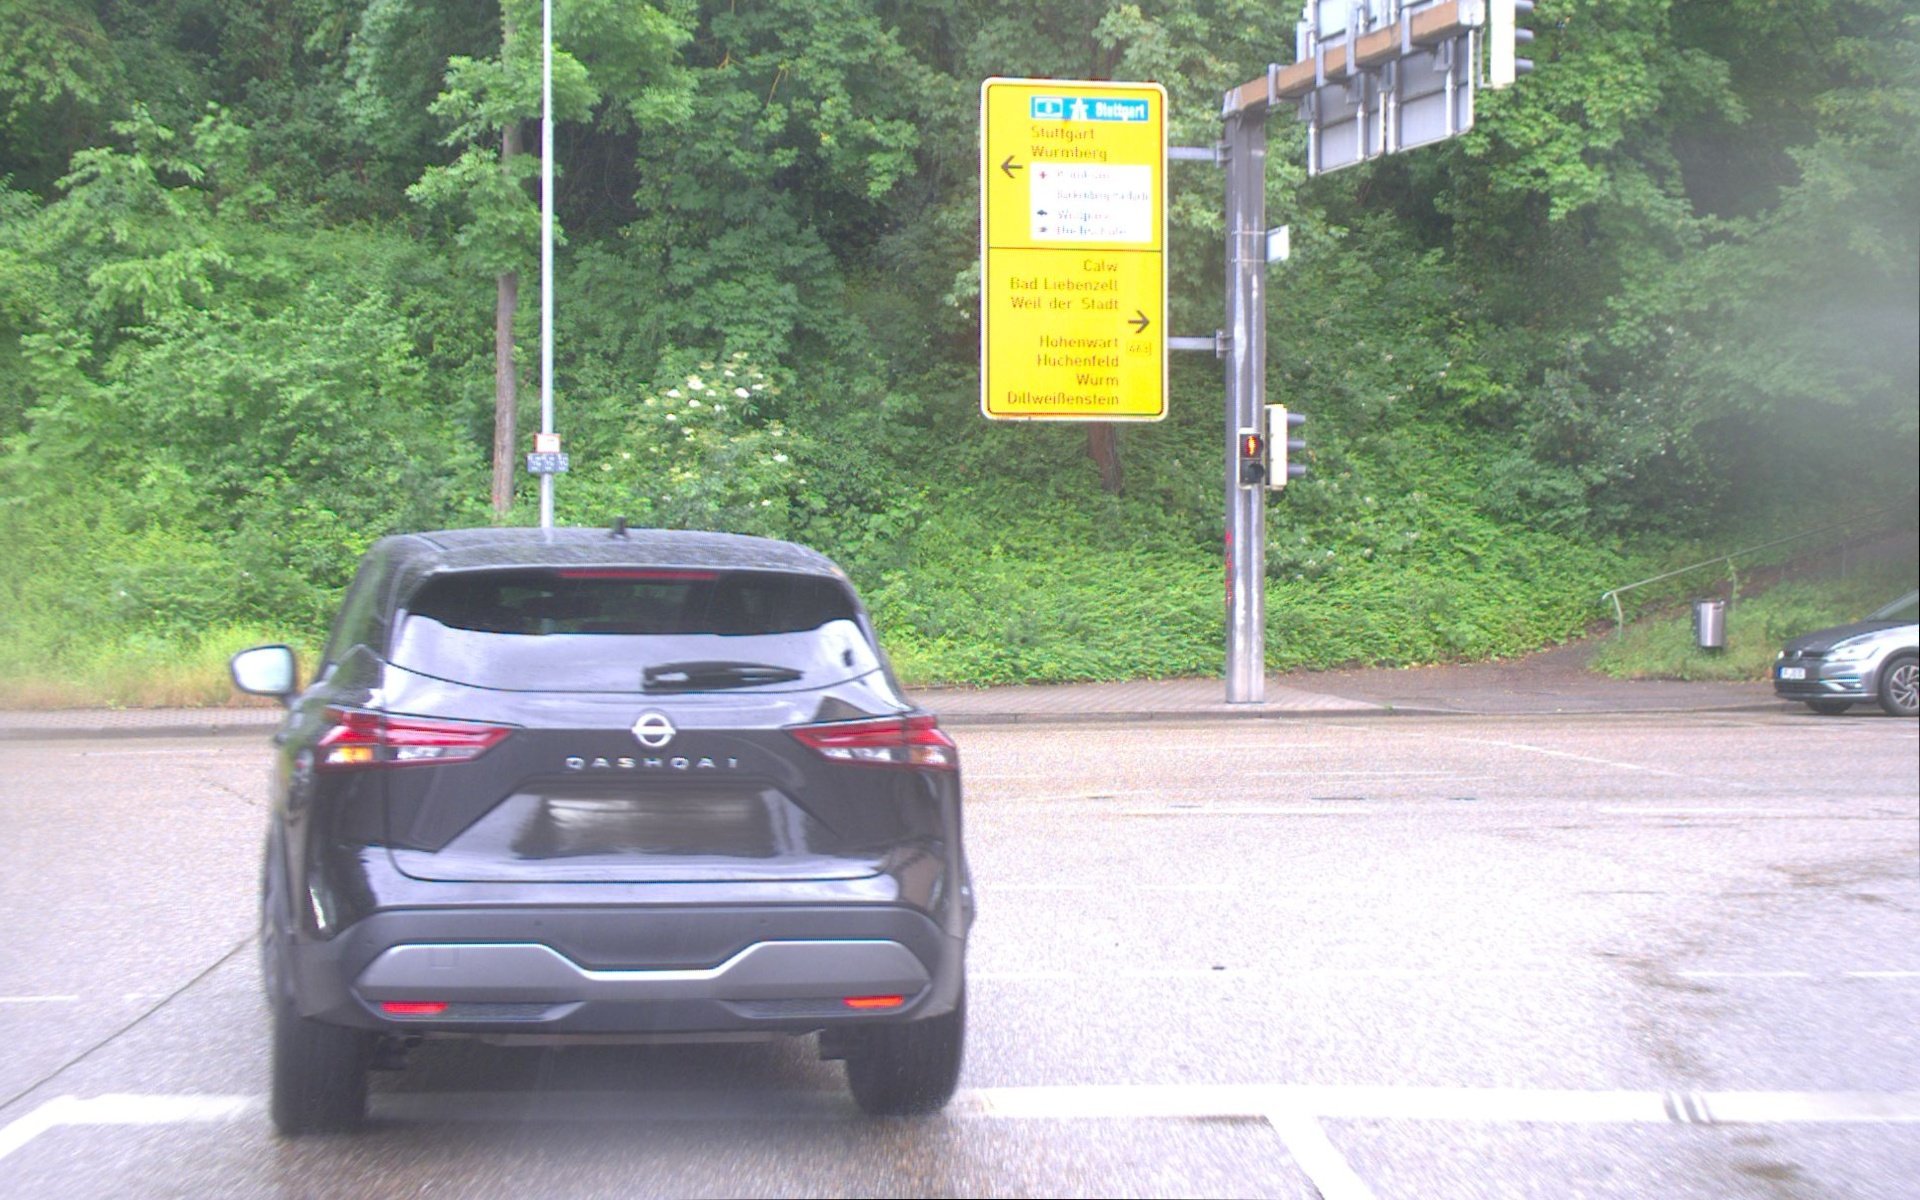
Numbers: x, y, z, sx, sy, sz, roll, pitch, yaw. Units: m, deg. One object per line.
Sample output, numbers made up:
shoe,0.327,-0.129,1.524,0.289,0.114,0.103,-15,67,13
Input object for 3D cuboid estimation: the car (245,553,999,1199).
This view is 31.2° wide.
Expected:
car,-1.170,0.683,10.271,1.810,1.597,4.001,0,0,-11

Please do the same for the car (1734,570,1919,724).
car,10.502,0.437,35.869,4.323,1.497,1.884,-1,1,-12
